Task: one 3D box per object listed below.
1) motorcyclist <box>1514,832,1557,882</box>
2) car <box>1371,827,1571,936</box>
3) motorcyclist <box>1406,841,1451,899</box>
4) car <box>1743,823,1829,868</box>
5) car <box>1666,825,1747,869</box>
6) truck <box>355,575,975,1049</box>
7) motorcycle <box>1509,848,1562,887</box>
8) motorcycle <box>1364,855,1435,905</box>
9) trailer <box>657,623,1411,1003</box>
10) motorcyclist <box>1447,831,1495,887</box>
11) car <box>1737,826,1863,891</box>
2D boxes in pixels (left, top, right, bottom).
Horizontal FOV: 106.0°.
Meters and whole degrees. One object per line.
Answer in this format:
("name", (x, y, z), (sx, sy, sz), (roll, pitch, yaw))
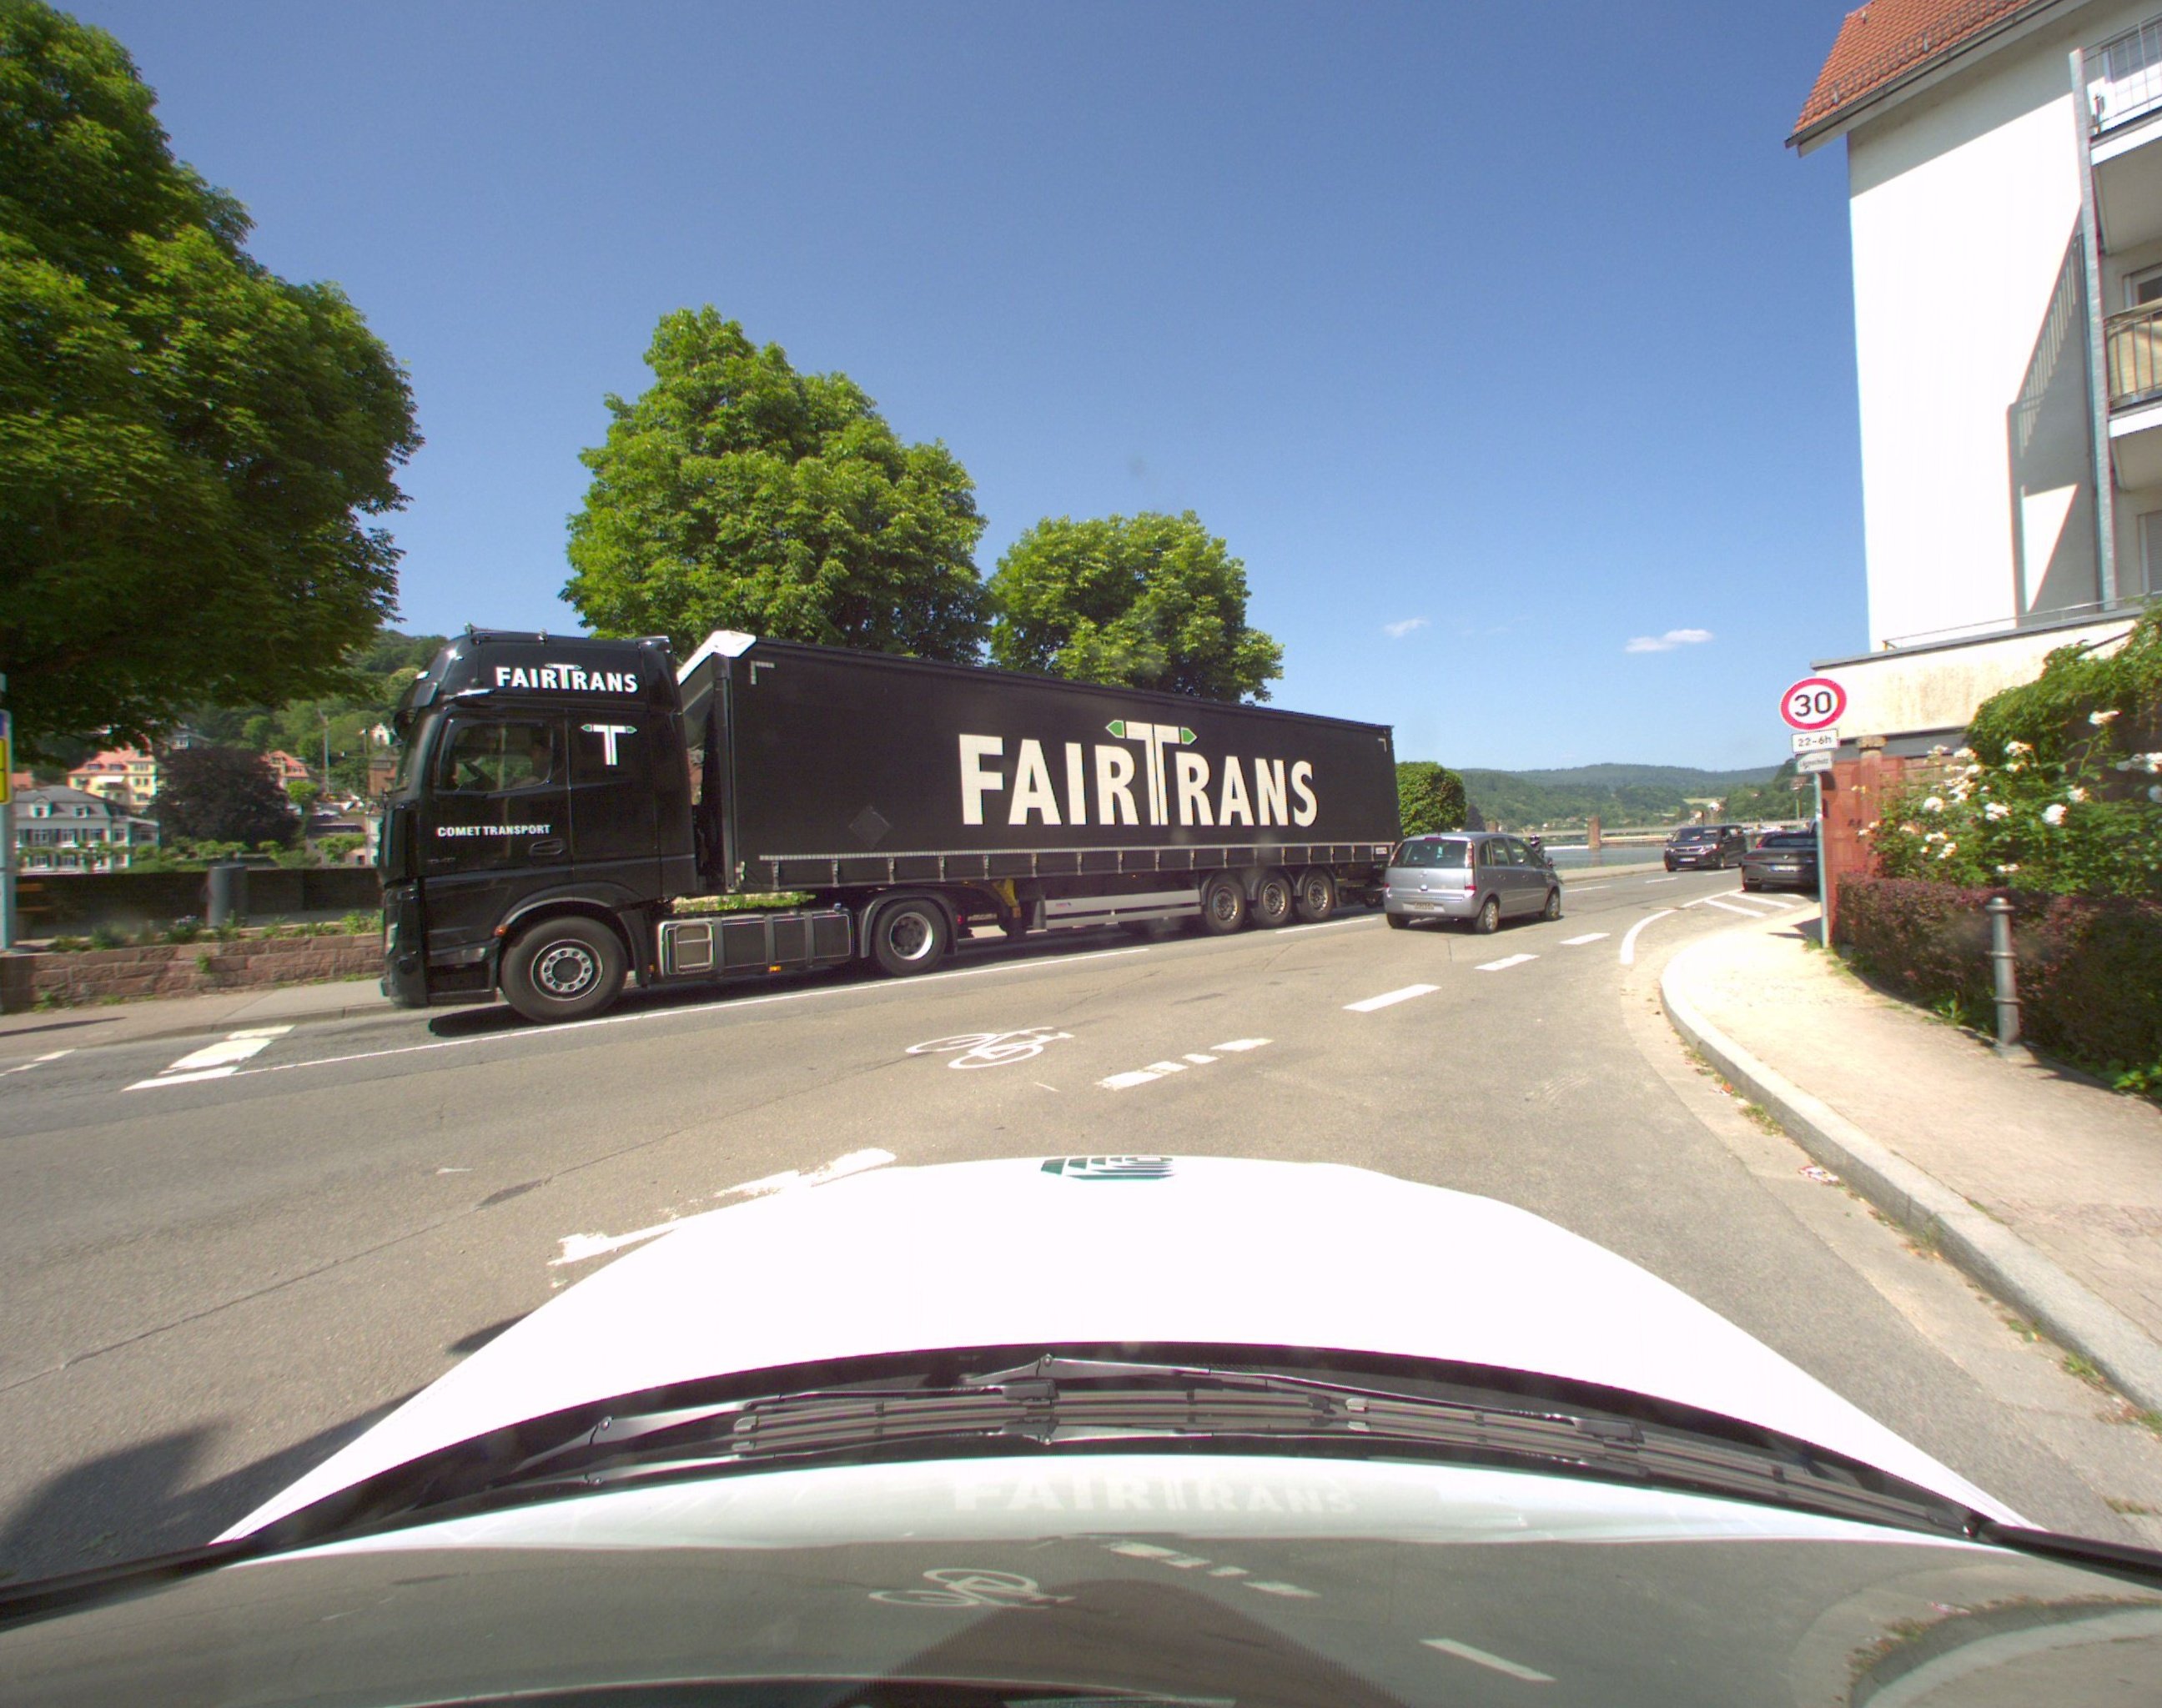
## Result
("motorcyclist", (13.067, 0.085, 23.413), (0.941, 1.366, 0.711), (-2, -1, -39))
("car", (6.782, 0.381, 14.016), (3.759, 1.610, 1.673), (-2, 0, -40))
("motorcyclist", (9.496, 0.432, 22.244), (0.997, 1.525, 0.657), (-2, -2, -41))
("car", (25.548, -0.311, 29.469), (3.901, 1.498, 1.707), (-2, -1, -40))
("car", (25.734, -0.301, 33.454), (3.792, 1.669, 1.752), (-2, 0, -39))
("truck", (-4.689, -0.385, 9.942), (5.961, 4.071, 2.807), (-2, -2, -38))
("motorcycle", (13.114, 0.383, 23.476), (1.824, 1.024, 0.651), (-2, -1, -39))
("motorcycle", (7.960, 0.628, 20.299), (2.103, 1.123, 0.628), (-2, -3, -40))
("trailer", (0.638, -0.584, 14.176), (13.840, 4.104, 2.809), (-2, -2, -39))
("motorcyclist", (9.792, 0.134, 20.456), (0.804, 1.366, 0.780), (-2, -1, -39))
("car", (17.035, 0.062, 19.244), (3.759, 1.399, 1.673), (-2, 0, -40))
